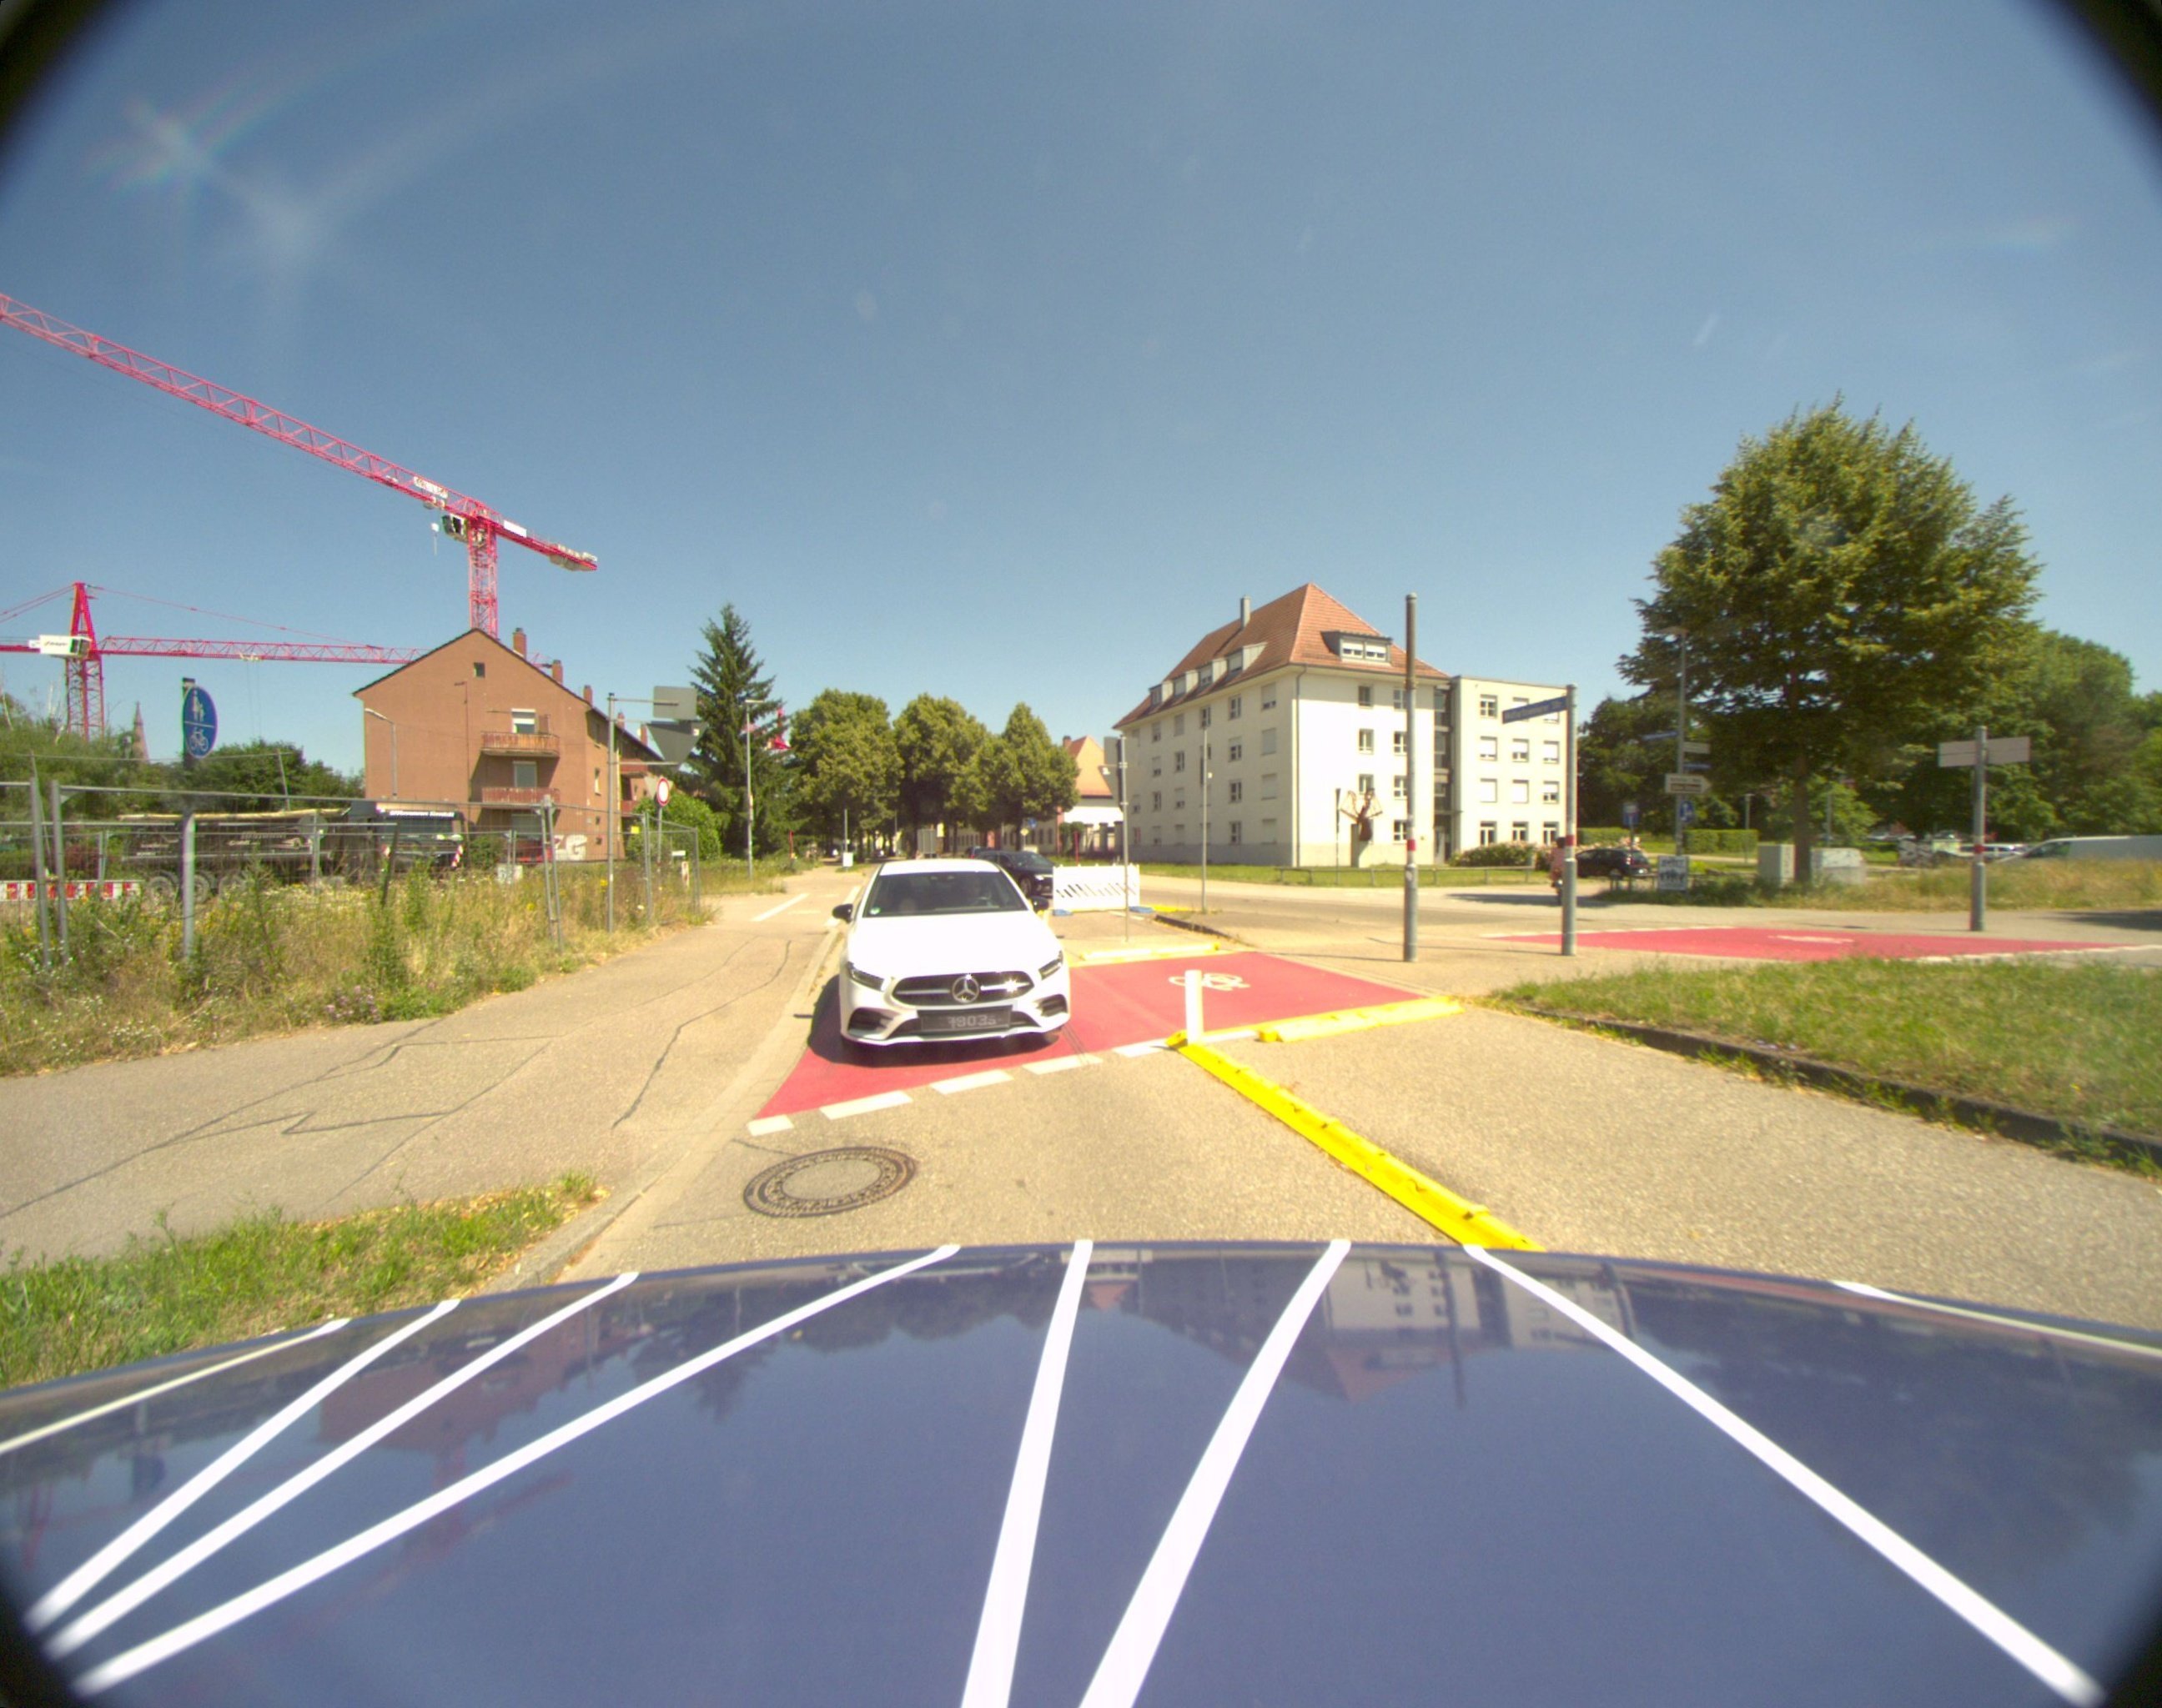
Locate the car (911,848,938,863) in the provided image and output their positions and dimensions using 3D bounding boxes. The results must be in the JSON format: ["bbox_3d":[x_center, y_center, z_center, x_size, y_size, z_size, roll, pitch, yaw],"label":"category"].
[{"bbox_3d":[-14.709,0.109,71.345,1.646,1.374,3.882,-1,1,-24],"label":"car"}]

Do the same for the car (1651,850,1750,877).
[{"bbox_3d":[29.644,0.419,36.471,1.358,1.210,3.507,-1,1,-20],"label":"car"}]

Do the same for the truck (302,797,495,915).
[{"bbox_3d":[-22.686,0.048,25.303,4.951,3.512,3.170,0,1,27],"label":"truck"}]

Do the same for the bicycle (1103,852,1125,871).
[{"bbox_3d":[1.926,0.423,44.319,0.710,1.018,1.982,-4,2,-15],"label":"bicycle"}]

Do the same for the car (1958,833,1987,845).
[{"bbox_3d":[104.265,-1.781,88.869,3.031,1.408,1.476,-1,1,-25],"label":"car"}]

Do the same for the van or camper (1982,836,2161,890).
[{"bbox_3d":[37.135,0.275,27.638,2.002,1.847,5.262,-1,1,-21],"label":"van or camper"}]

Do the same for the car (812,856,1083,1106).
[{"bbox_3d":[-1.371,0.857,7.197,1.782,1.537,3.957,-3,1,-14],"label":"car"}]

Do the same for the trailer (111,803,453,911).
[{"bbox_3d":[-27.821,0.119,26.755,8.983,3.512,3.165,0,1,3],"label":"trailer"}]

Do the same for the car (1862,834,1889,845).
[{"bbox_3d":[100.460,-1.847,96.081,3.031,1.408,1.476,-1,1,-25],"label":"car"}]

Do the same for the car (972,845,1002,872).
[{"bbox_3d":[-6.352,0.293,51.044,1.690,1.759,4.200,1,0,-11],"label":"car"}]

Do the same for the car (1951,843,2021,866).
[{"bbox_3d":[55.725,0.020,46.826,1.084,1.350,2.525,-1,1,-14],"label":"car"}]

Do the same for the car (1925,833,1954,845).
[{"bbox_3d":[103.256,-1.805,91.372,3.031,1.408,1.476,-1,1,-25],"label":"car"}]

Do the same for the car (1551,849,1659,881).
[{"bbox_3d":[23.821,0.459,34.708,1.661,1.319,3.801,-1,1,-20],"label":"car"}]

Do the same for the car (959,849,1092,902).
[{"bbox_3d":[-1.894,0.644,24.531,1.804,1.443,4.605,-5,3,-41],"label":"car"}]

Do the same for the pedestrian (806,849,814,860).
[{"bbox_3d":[-37.892,0.054,106.279,1.025,1.509,0.681,-1,1,-14],"label":"pedestrian"}]

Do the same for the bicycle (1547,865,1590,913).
[{"bbox_3d":[12.046,0.835,18.825,0.438,1.052,2.091,-1,1,20],"label":"bicycle"}]

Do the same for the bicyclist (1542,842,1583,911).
[{"bbox_3d":[12.083,0.553,19.069,0.645,1.654,0.711,-3,1,18],"label":"bicyclist"}]
